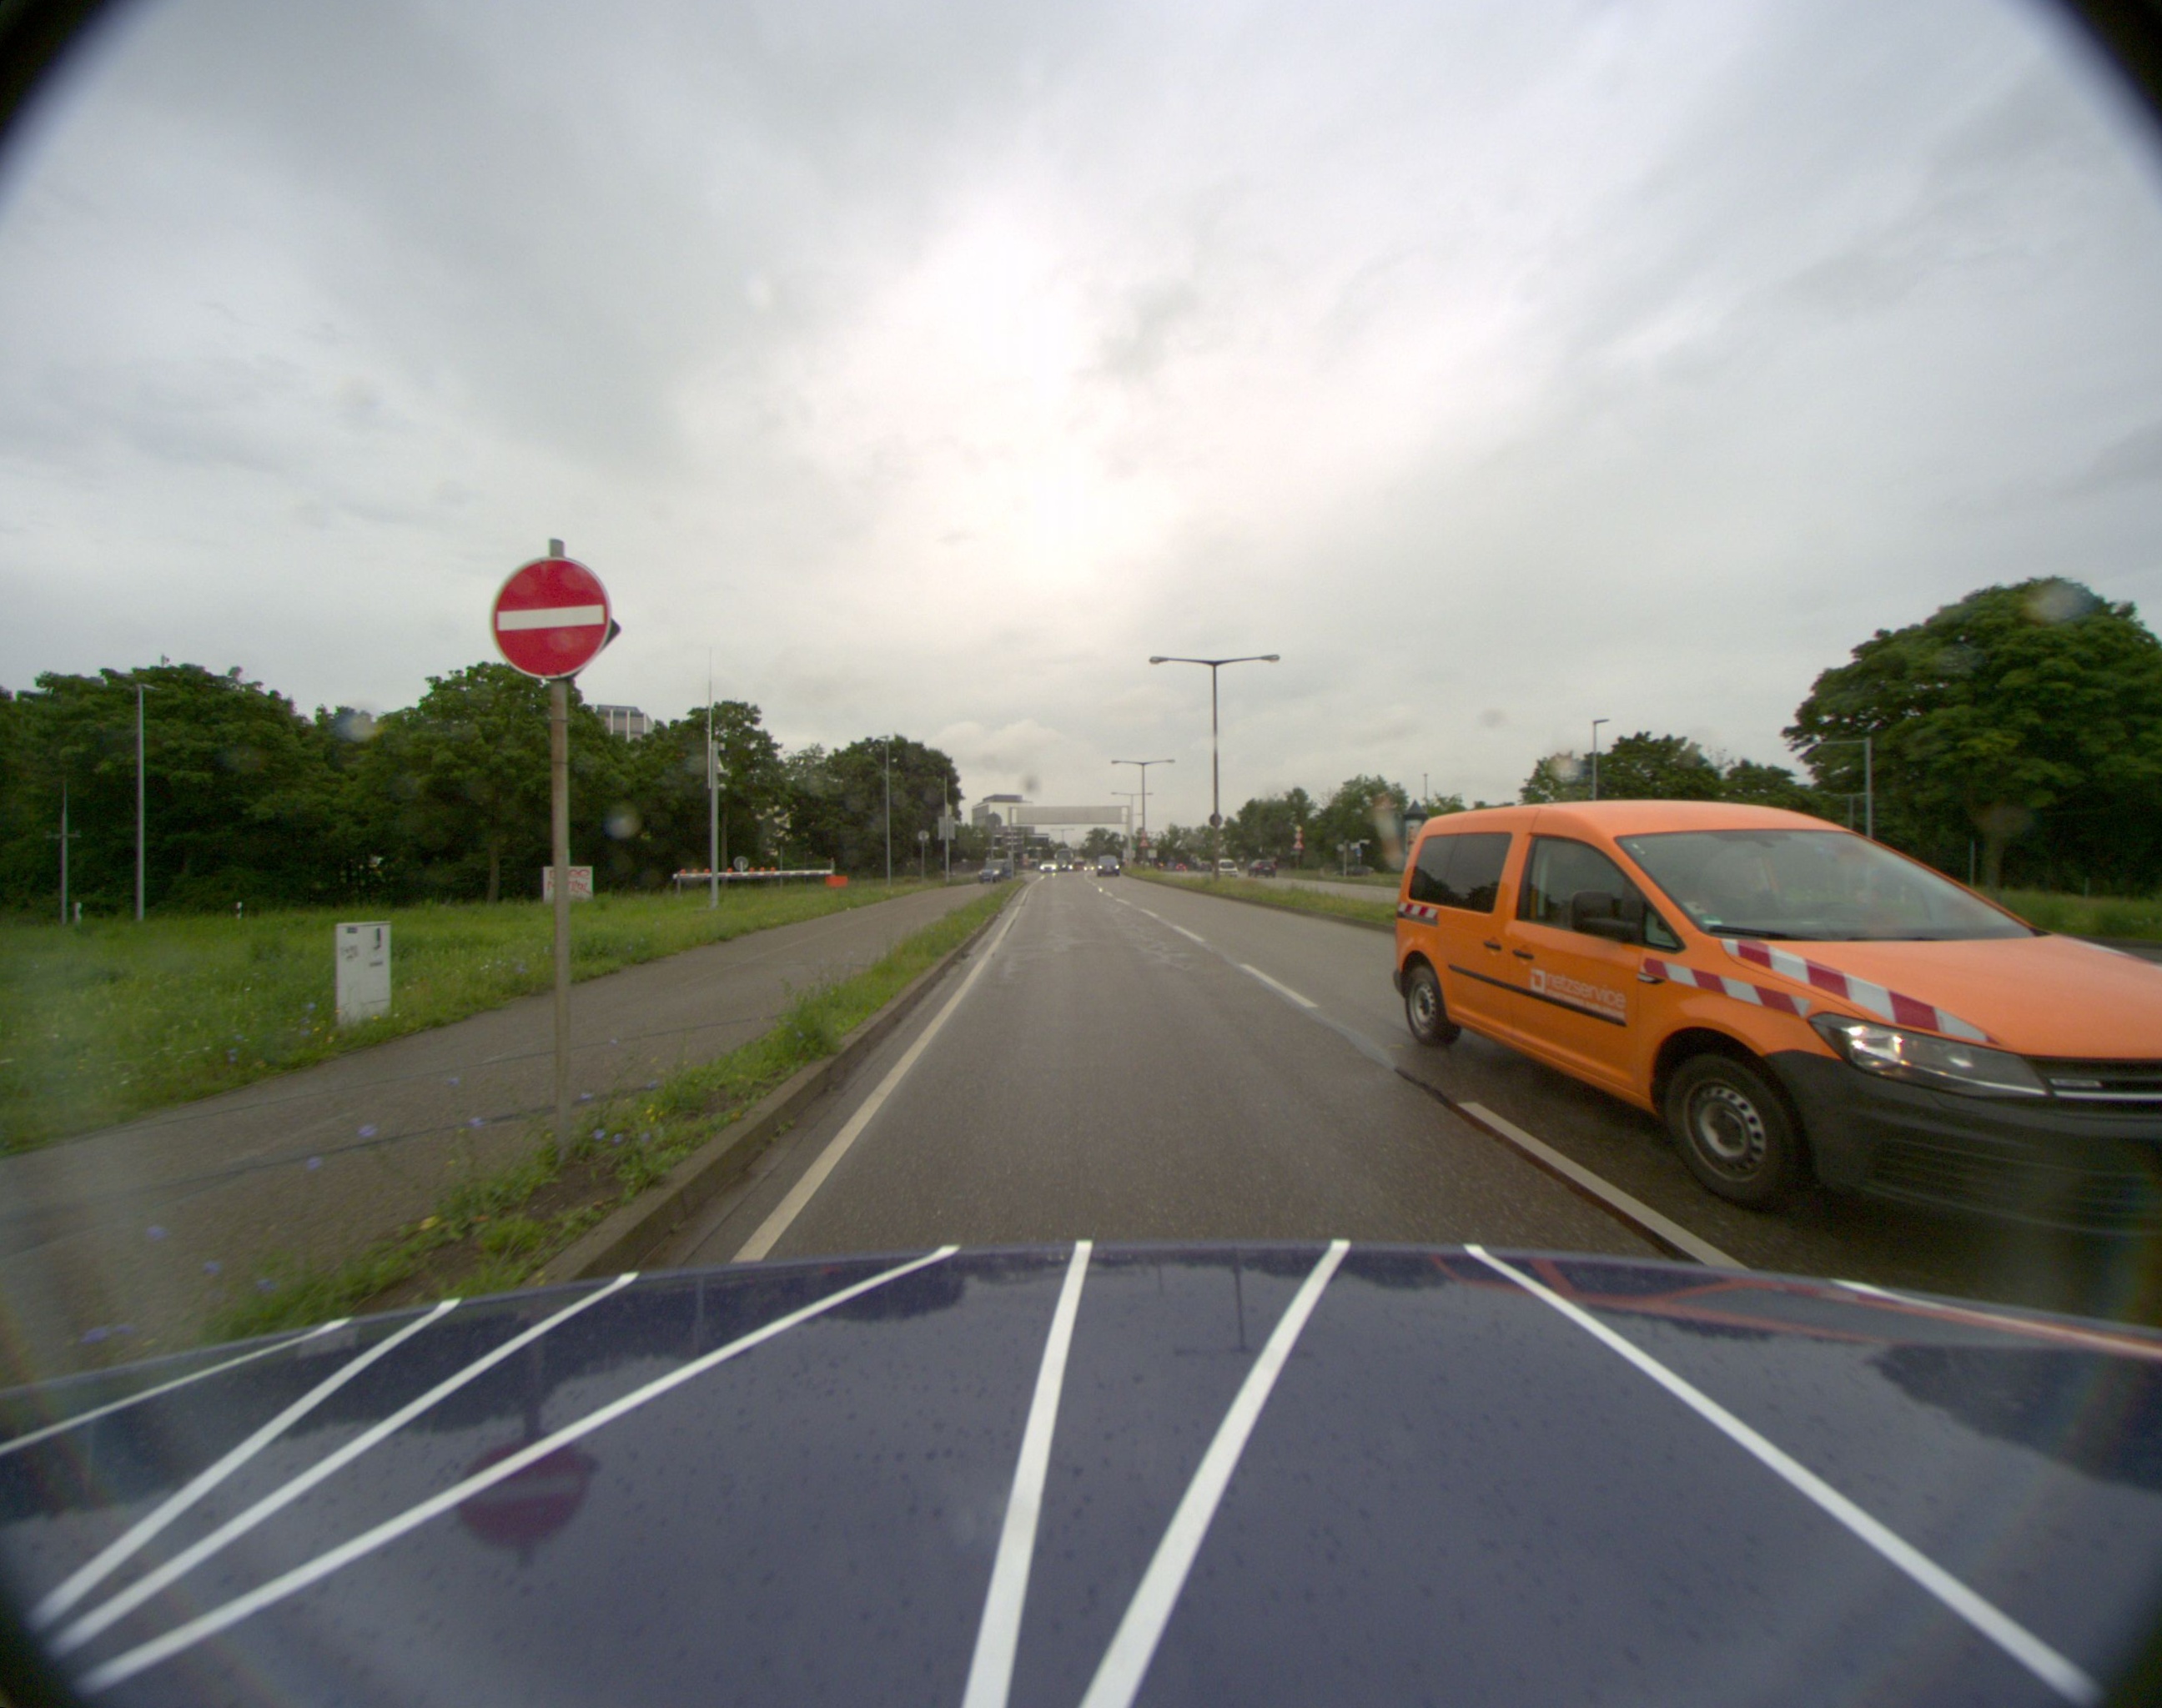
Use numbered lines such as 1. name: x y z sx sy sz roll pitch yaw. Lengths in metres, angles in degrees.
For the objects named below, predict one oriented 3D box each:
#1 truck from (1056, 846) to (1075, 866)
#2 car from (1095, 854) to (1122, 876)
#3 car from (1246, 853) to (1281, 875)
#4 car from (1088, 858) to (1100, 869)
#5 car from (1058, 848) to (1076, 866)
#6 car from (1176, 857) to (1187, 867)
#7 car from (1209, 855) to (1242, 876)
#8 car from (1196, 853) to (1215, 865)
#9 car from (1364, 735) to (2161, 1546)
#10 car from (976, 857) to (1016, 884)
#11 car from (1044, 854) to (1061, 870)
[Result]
1. truck: -2.557 0.262 126.807 2.860 3.197 8.096 -1 1 0
2. car: 2.301 0.896 64.862 1.850 1.740 4.816 -3 0 -2
3. car: 15.698 0.833 65.646 1.850 1.740 4.030 -1 0 -2
4. car: 2.364 1.699 136.348 1.998 1.701 3.999 -1 1 0
5. car: -1.813 0.410 101.043 2.252 2.249 5.170 -1 0 0
6. car: 18.783 1.486 142.052 1.850 1.740 4.032 -1 0 3
7. car: 12.054 0.952 63.686 1.850 1.612 4.030 -1 0 -2
8. car: 16.419 0.599 100.430 1.850 1.513 4.031 -1 0 1
9. car: 3.396 0.686 4.302 1.739 2.007 4.849 -2 0 0
10. car: -6.575 1.249 59.233 1.849 1.741 4.819 -3 1 8
11. car: -3.409 0.933 90.378 1.841 1.740 3.999 -1 0 0
